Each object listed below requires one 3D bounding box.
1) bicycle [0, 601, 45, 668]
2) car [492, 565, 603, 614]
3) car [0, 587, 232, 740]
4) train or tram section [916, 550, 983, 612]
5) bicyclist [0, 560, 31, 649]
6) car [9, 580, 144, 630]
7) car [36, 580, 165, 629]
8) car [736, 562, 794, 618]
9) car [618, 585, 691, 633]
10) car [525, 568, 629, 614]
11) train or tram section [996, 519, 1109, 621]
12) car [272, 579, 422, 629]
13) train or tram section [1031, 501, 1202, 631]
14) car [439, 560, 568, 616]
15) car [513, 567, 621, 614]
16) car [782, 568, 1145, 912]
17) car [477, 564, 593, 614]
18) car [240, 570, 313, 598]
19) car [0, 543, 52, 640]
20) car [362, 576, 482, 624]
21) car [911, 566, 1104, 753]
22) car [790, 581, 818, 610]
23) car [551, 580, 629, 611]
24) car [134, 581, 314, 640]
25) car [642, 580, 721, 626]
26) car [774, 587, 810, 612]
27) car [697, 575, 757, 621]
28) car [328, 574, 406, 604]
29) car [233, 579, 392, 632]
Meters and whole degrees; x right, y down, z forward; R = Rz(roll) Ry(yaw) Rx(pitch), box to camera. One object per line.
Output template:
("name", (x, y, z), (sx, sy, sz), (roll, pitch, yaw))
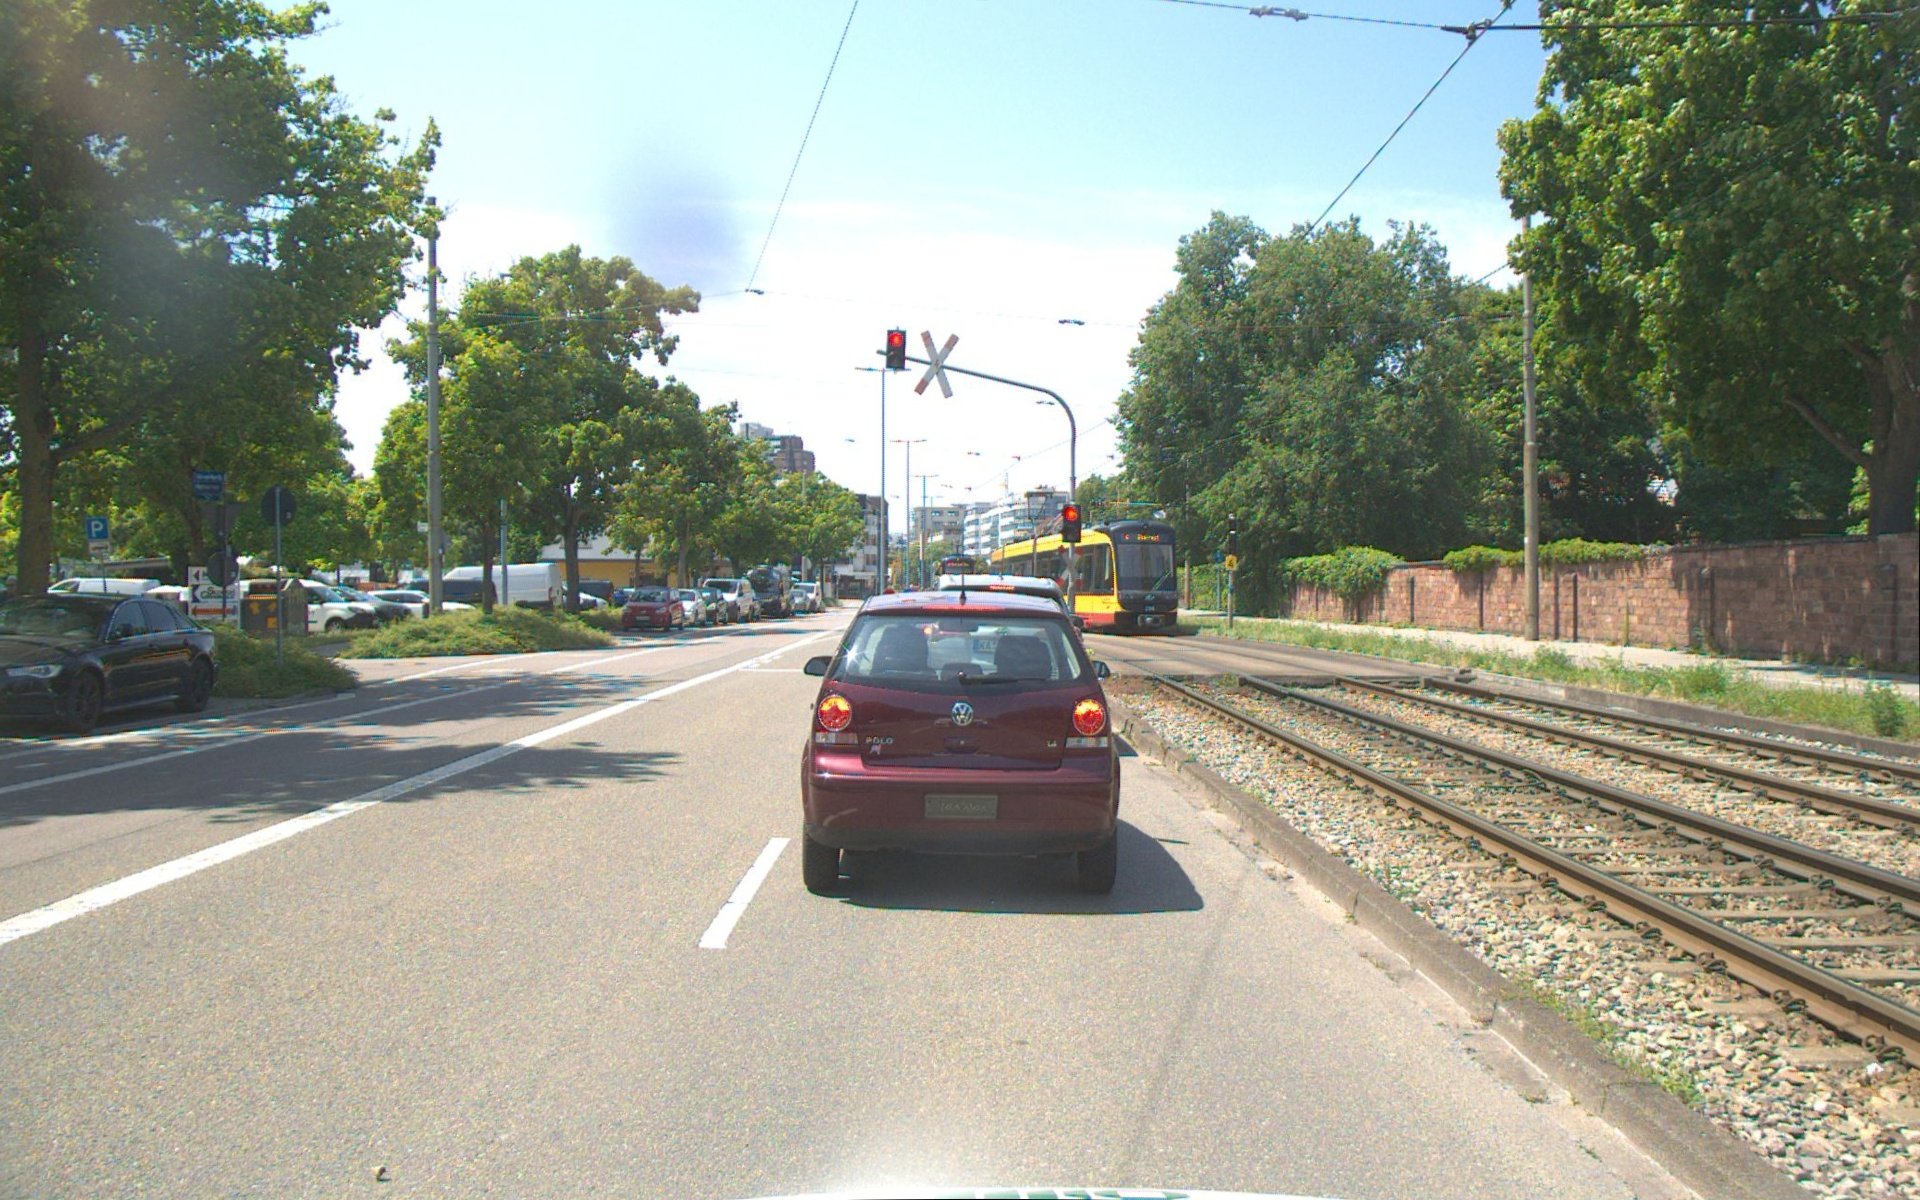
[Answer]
("bicycle", (-15.489, 0.539, 26.359), (0.686, 1.047, 1.829), (2, 0, 3))
("car", (-21.091, -0.520, 84.658), (4.992, 2.283, 2.378), (2, 0, 0))
("car", (-10.297, 0.636, 19.178), (1.782, 1.502, 4.448), (2, 1, -1))
("train or tram section", (-0.787, -1.276, 107.230), (2.689, 3.672, 12.849), (2, 1, -7))
("bicyclist", (-15.474, 0.059, 26.366), (0.792, 1.398, 0.828), (2, -1, 2))
("car", (-32.371, 0.181, 60.696), (3.913, 1.682, 1.812), (2, 0, -9))
("car", (-32.743, 0.179, 63.100), (3.913, 1.682, 1.812), (2, 0, -9))
("car", (-10.168, -0.488, 86.762), (2.313, 2.739, 5.307), (2, 0, 0))
("car", (-10.464, 0.304, 56.926), (1.628, 1.523, 4.000), (2, 0, 1))
("car", (-20.727, -0.482, 89.685), (4.992, 2.283, 2.378), (2, 0, 0))
("train or tram section", (3.638, -1.206, 68.856), (2.969, 3.864, 13.078), (0, 1, -4))
("car", (-20.294, 0.128, 54.865), (4.251, 1.612, 1.914), (0, 0, 5))
("train or tram section", (4.978, -1.087, 55.891), (2.971, 3.864, 13.069), (0, 1, -7))
("car", (-20.263, -0.518, 73.534), (4.992, 2.283, 2.378), (2, 0, 0))
("car", (-20.662, -0.493, 87.132), (4.992, 2.283, 2.378), (2, 0, 0))
("car", (-0.029, 0.627, 9.641), (1.638, 1.548, 3.999), (2, 1, -1))
("car", (-20.889, -0.528, 81.470), (4.992, 2.283, 2.378), (2, 0, 0))
("car", (-44.794, -1.053, 108.384), (3.938, 1.645, 1.816), (2, 0, 0))
("car", (-33.182, -0.380, 53.004), (6.714, 3.017, 2.363), (2, 0, -2))
("car", (-20.420, -0.016, 62.897), (3.906, 1.776, 1.998), (0, 0, -2))
("car", (0.390, 0.530, 17.309), (1.741, 1.676, 3.999), (2, 1, -2))
("car", (-10.408, -0.307, 110.040), (1.741, 1.860, 3.995), (2, 0, -6))
("car", (-21.043, -0.249, 94.129), (3.938, 1.645, 1.816), (2, 0, 0))
("car", (-20.873, 0.274, 47.049), (4.256, 1.612, 1.912), (0, 0, -3))
("car", (-10.645, 0.119, 63.473), (1.934, 1.629, 4.560), (2, 0, 4))
("car", (-10.561, -0.023, 104.067), (1.581, 1.466, 4.001), (2, 0, 3))
("car", (-10.338, -0.062, 73.716), (1.746, 1.914, 4.787), (2, 0, 2))
("car", (-35.165, -0.656, 98.184), (3.939, 1.645, 1.816), (2, 0, -2))
("car", (-20.372, 0.159, 52.152), (4.251, 1.612, 1.914), (0, 0, 5))
